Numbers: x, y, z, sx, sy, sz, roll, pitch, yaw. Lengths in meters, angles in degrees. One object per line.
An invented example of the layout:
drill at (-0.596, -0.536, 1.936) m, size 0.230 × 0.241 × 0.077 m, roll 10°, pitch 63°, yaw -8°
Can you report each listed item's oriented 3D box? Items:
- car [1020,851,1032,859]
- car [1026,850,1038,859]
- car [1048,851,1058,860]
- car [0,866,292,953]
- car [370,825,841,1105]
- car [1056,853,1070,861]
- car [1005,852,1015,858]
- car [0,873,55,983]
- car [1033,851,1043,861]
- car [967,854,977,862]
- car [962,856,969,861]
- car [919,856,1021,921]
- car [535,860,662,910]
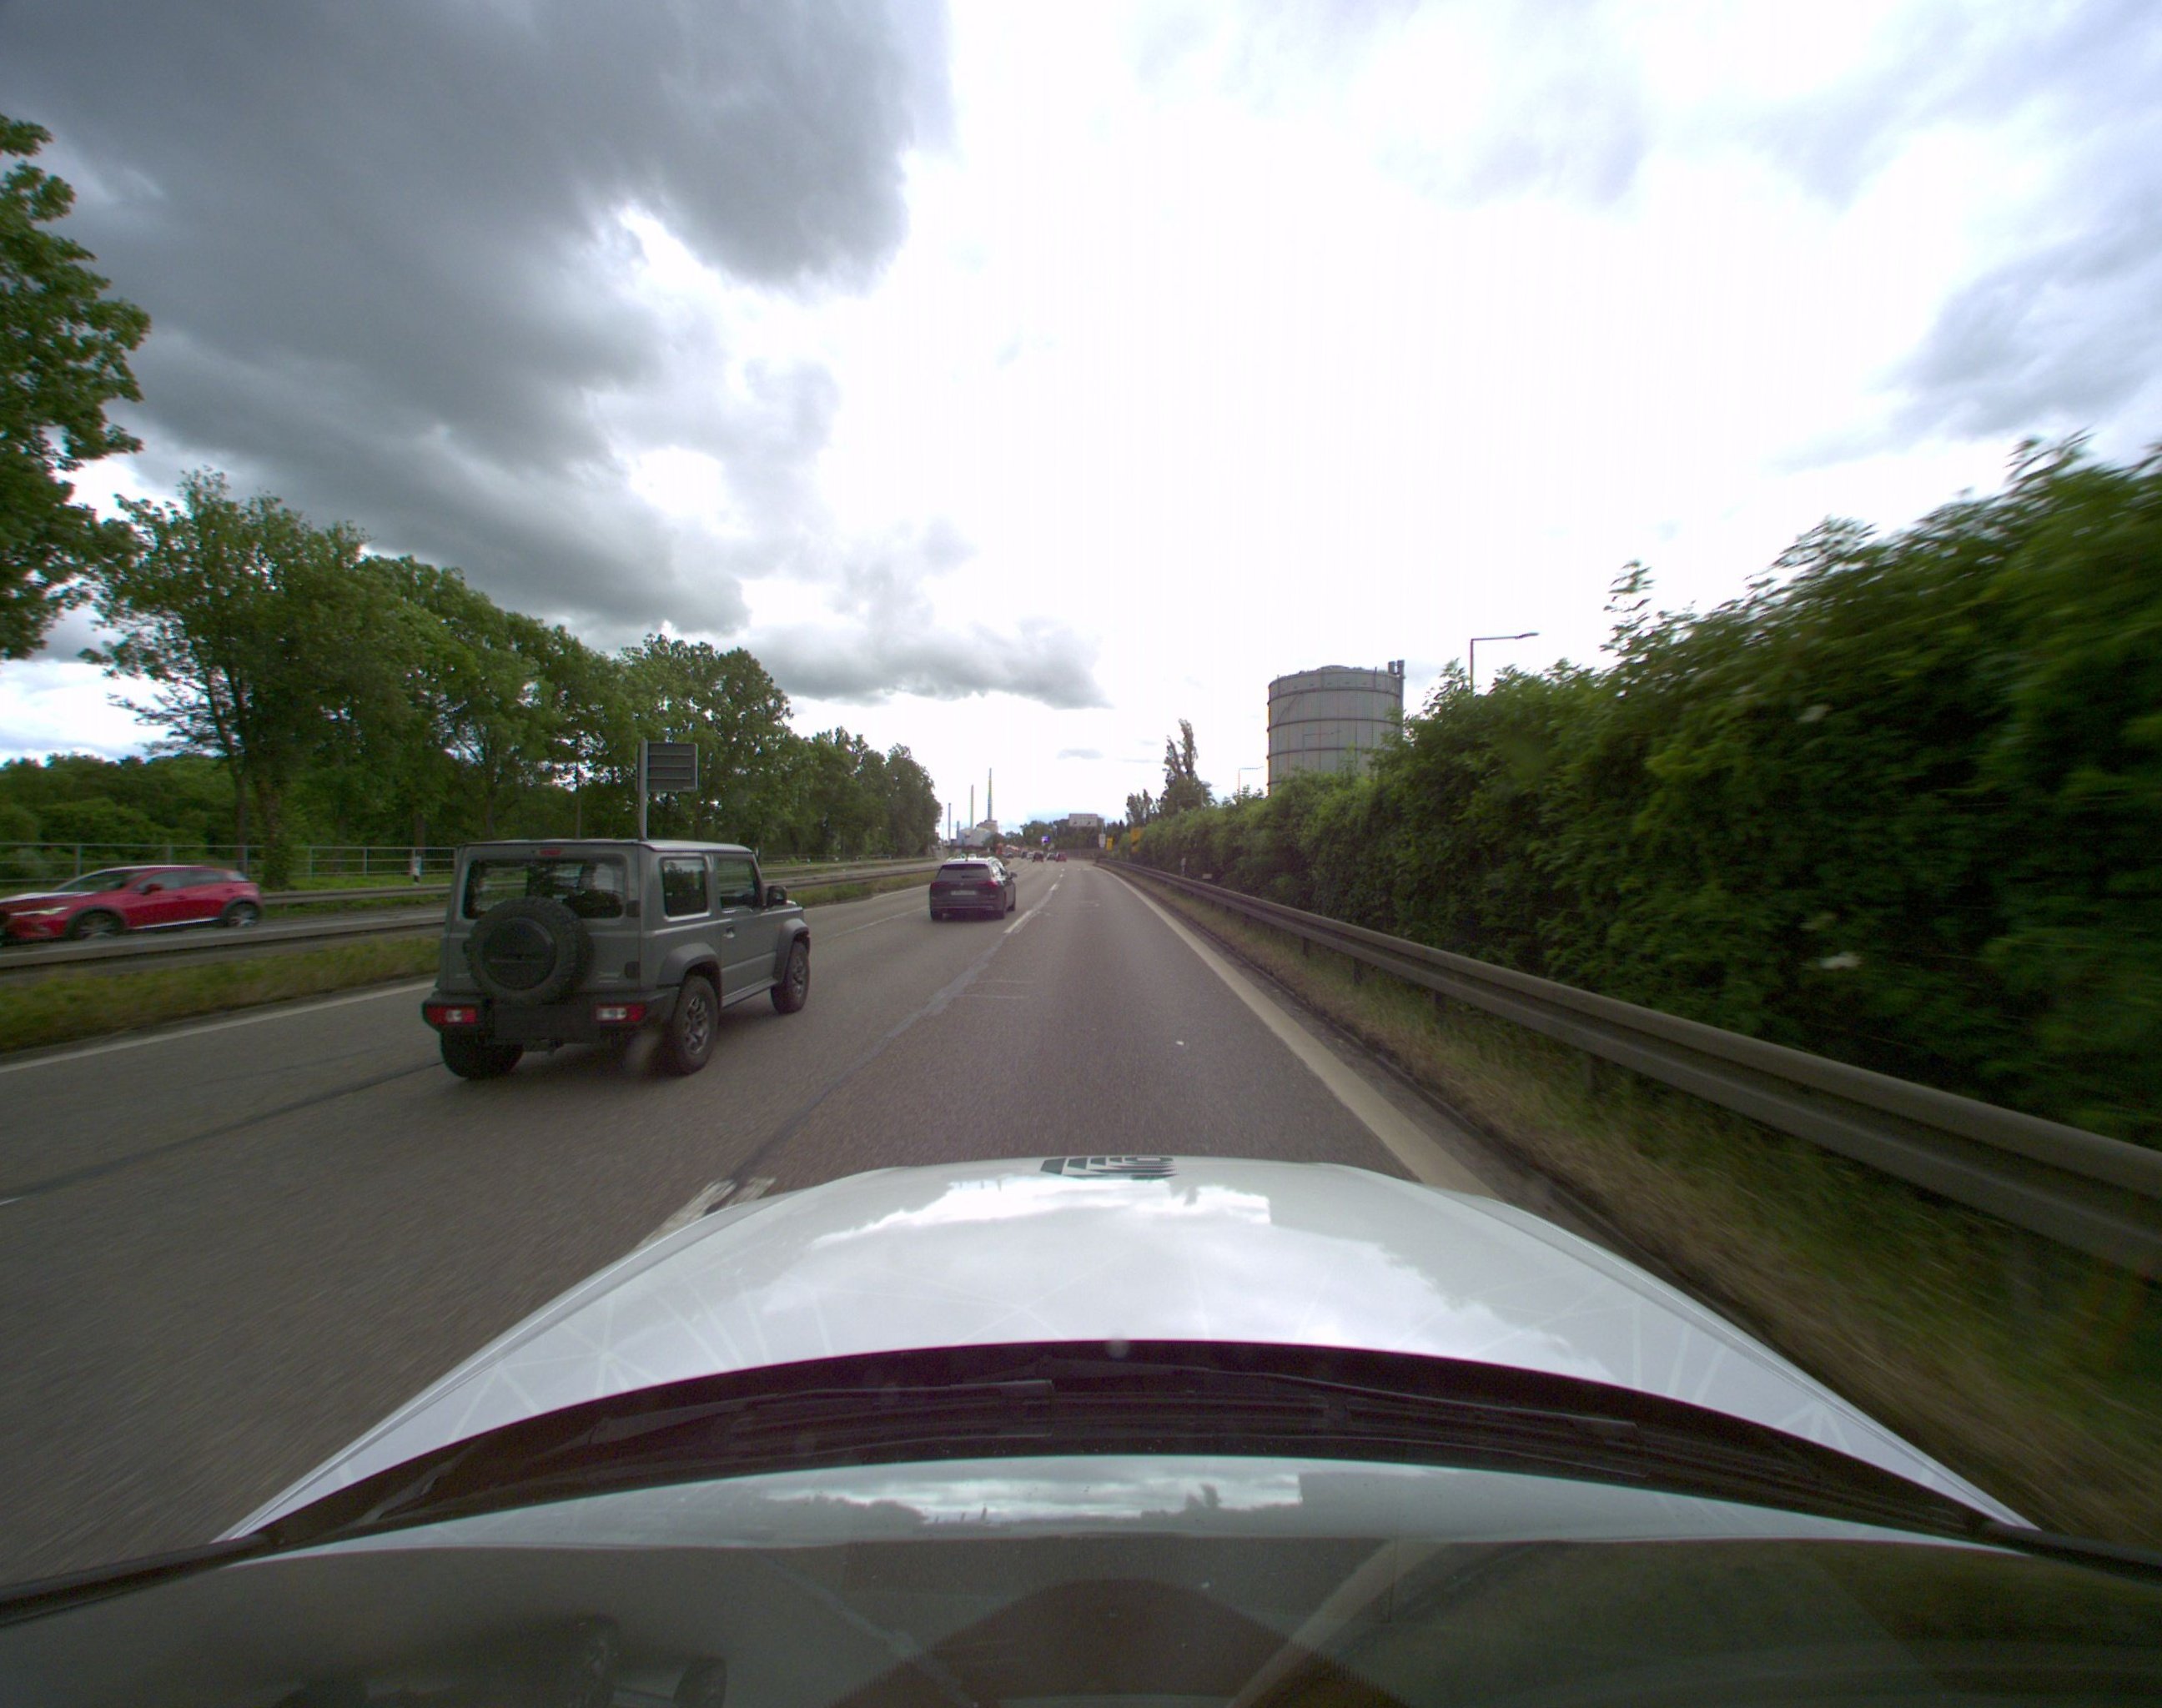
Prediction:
car at (-14.445, 0.205, 212.481) m, size 2.018 × 1.934 × 4.872 m, roll -1°, pitch 0°, yaw -17°
car at (-11.772, 0.090, 194.053) m, size 2.016 × 1.934 × 4.878 m, roll -1°, pitch 0°, yaw -13°
car at (-5.729, 0.245, 166.264) m, size 1.695 × 1.742 × 4.384 m, roll -1°, pitch 0°, yaw -6°
car at (-19.009, 1.014, 16.511) m, size 1.711 × 1.465 × 4.381 m, roll -1°, pitch 0°, yaw 1°
car at (-3.505, 0.674, 7.001) m, size 1.692 × 1.686 × 3.999 m, roll -1°, pitch 0°, yaw -1°
car at (-3.080, 0.511, 138.077) m, size 1.971 × 1.423 × 4.892 m, roll -1°, pitch 0°, yaw -5°
car at (-19.551, 0.283, 224.698) m, size 1.702 × 1.742 × 4.367 m, roll -1°, pitch 0°, yaw -17°
car at (-15.508, 1.012, 8.757) m, size 1.855 × 1.465 × 5.551 m, roll -1°, pitch 0°, yaw 1°
car at (-7.262, 0.309, 138.579) m, size 1.693 × 1.742 × 3.996 m, roll -1°, pitch 0°, yaw -3°
car at (-21.413, 0.795, 160.409) m, size 1.611 × 1.386 × 3.728 m, roll 0°, pitch 0°, yaw -3°
car at (-36.108, 1.350, 254.432) m, size 1.700 × 1.413 × 4.614 m, roll -1°, pitch 0°, yaw -15°
car at (-2.647, 0.769, 20.543) m, size 1.839 × 1.423 × 4.900 m, roll 1°, pitch 0°, yaw 0°
car at (-15.286, 0.930, 26.059) m, size 1.655 × 1.424 × 3.912 m, roll -1°, pitch 0°, yaw 1°
